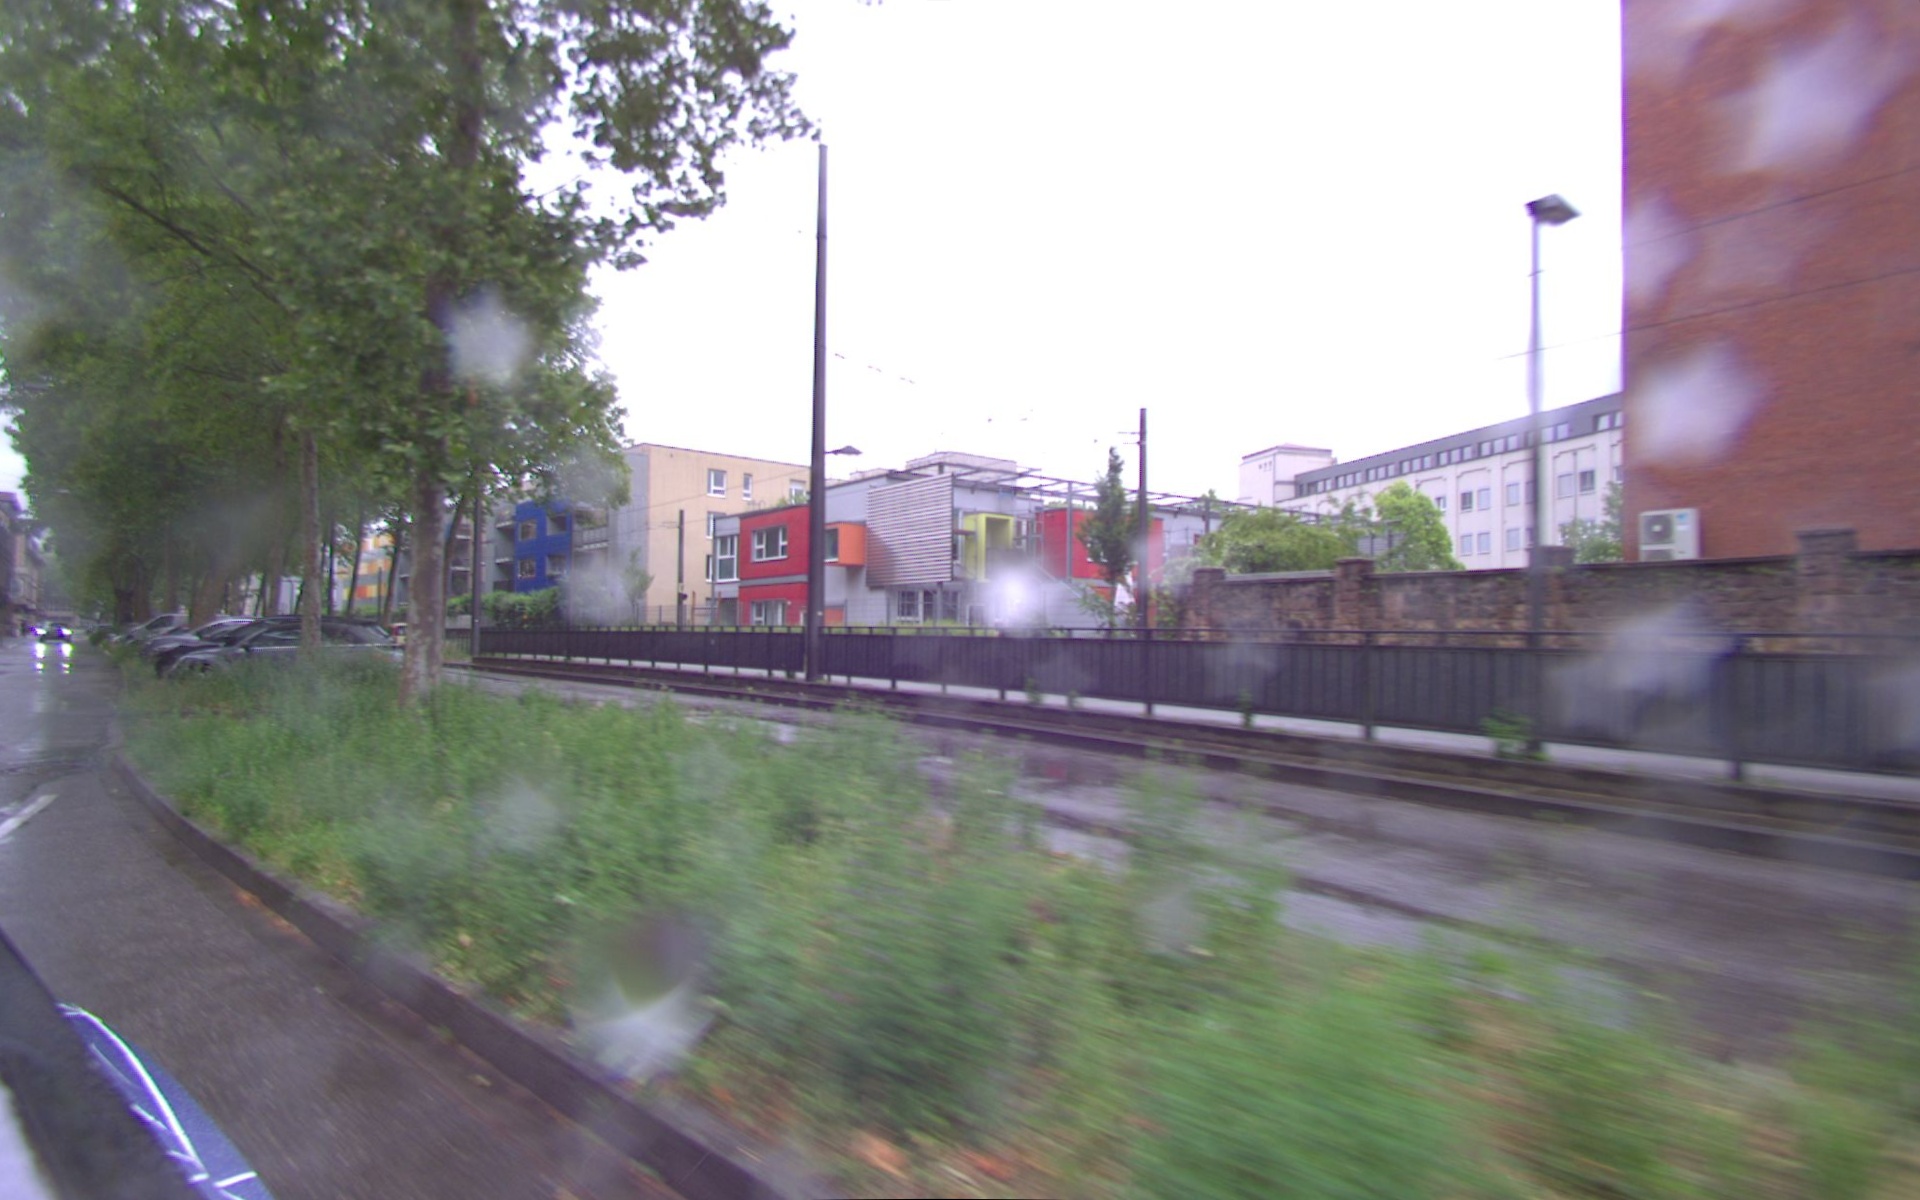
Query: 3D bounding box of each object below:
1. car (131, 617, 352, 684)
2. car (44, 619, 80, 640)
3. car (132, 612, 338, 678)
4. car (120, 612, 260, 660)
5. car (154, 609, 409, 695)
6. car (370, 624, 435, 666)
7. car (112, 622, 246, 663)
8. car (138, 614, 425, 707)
[{"bbox_3d":[-18.438,1.307,26.164,4.264,1.519,1.752,3,-3,-8],"label":"car"},{"bbox_3d":[-69.419,2.280,78.265,1.823,1.608,4.224,3,-3,-39],"label":"car"},{"bbox_3d":[-20.165,1.280,28.349,4.260,1.625,1.753,3,-3,-15],"label":"car"},{"bbox_3d":[-36.615,1.728,48.254,4.813,2.029,2.004,3,-3,-10],"label":"car"},{"bbox_3d":[-14.523,1.129,21.892,4.162,1.622,1.752,3,-3,-10],"label":"car"},{"bbox_3d":[-24.542,1.960,44.495,1.667,1.737,3.697,5,-4,-41],"label":"car"},{"bbox_3d":[-32.018,1.737,41.612,3.931,1.497,1.665,3,-3,-18],"label":"car"},{"bbox_3d":[-13.025,1.171,19.715,4.162,1.553,1.935,3,-3,-10],"label":"car"}]
